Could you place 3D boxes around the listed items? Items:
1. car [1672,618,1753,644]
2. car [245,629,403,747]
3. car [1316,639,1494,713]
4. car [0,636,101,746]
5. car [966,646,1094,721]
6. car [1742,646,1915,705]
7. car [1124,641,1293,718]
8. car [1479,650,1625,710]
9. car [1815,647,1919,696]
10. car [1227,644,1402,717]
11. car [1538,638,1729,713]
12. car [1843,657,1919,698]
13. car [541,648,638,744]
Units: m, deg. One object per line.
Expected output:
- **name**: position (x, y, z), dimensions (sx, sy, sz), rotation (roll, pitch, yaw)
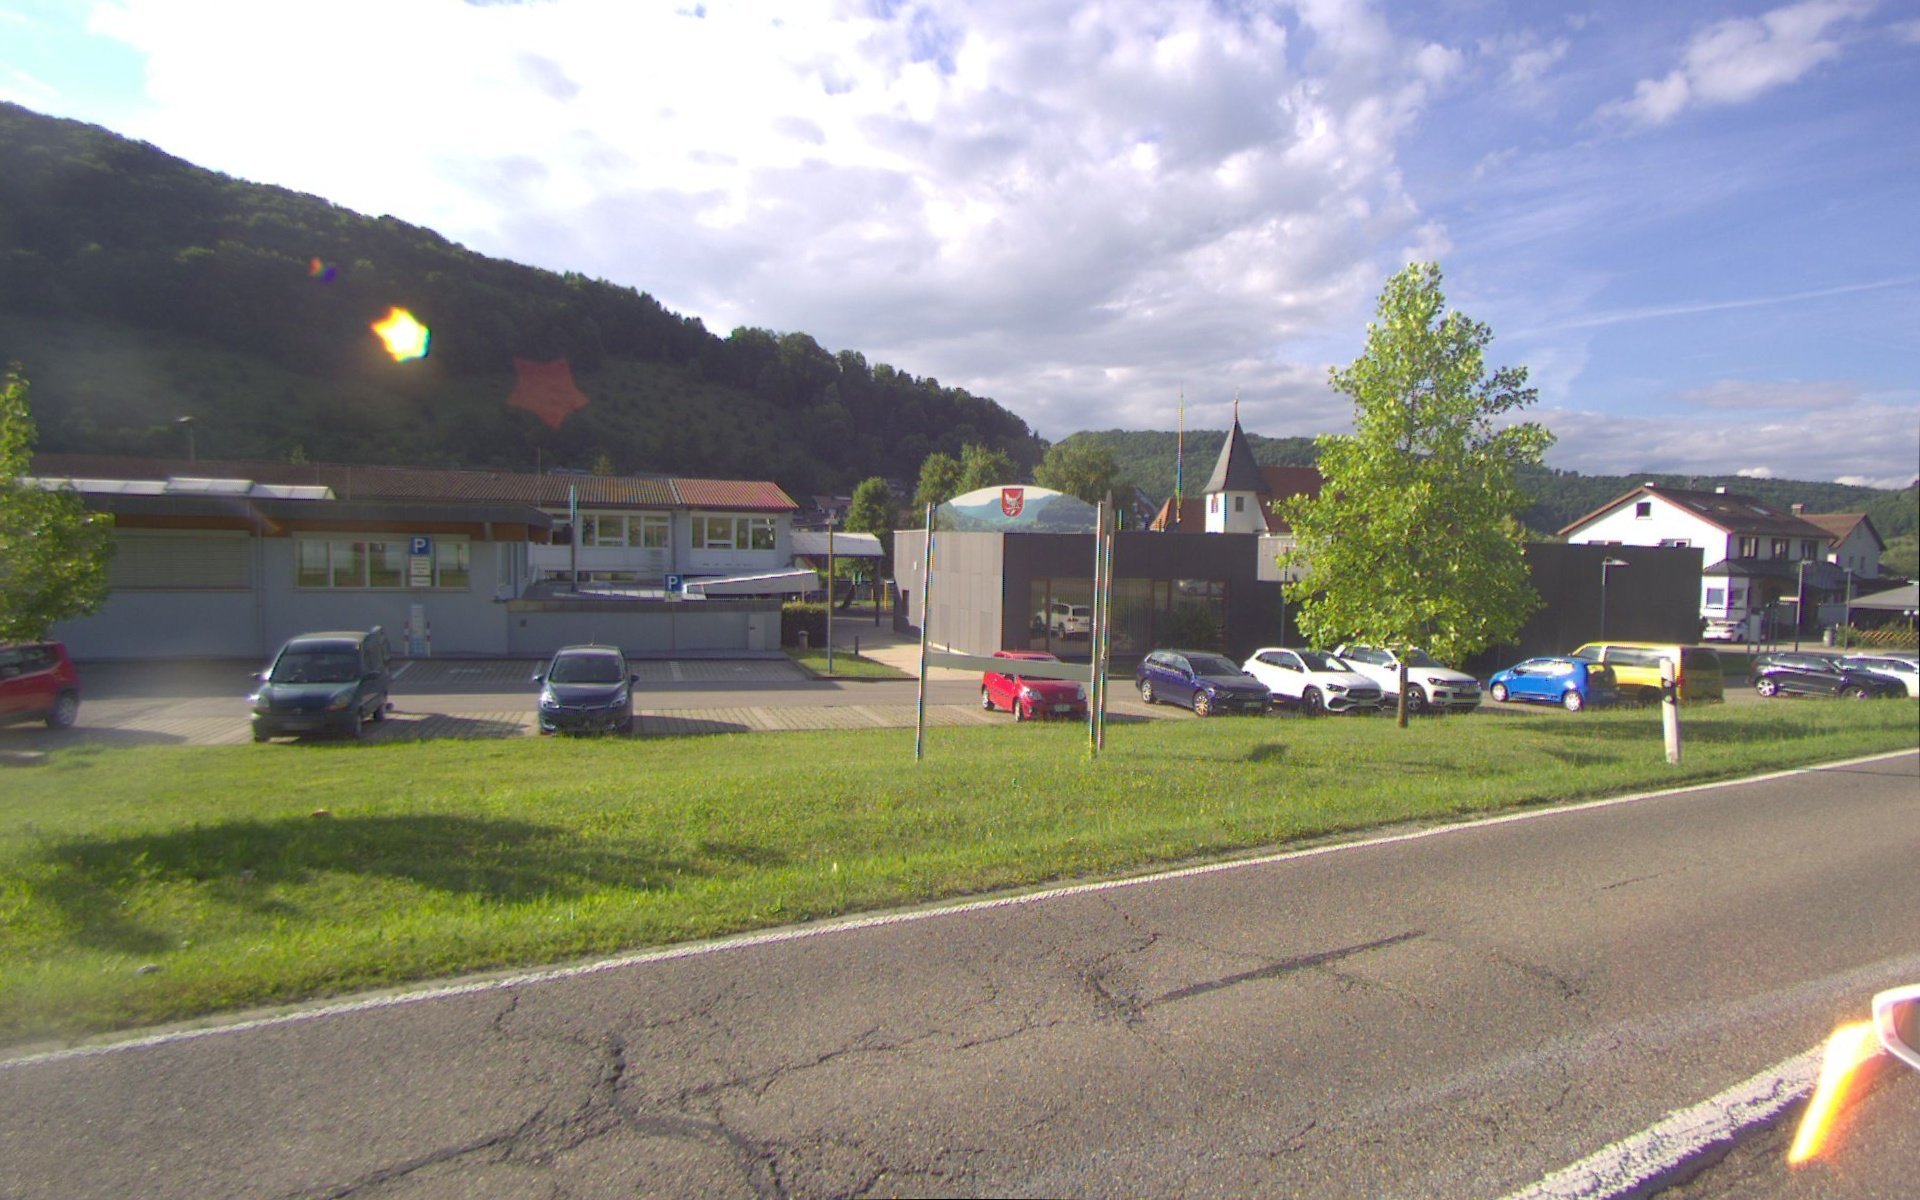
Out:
- **car**: position (46.706, 1.926, 62.370), dimensions (3.927, 1.461, 1.767), rotation (2, 0, -8)
- **car**: position (-12.153, 1.565, 19.508), dimensions (1.660, 1.817, 4.981), rotation (2, 0, -22)
- **car**: position (12.370, 2.067, 28.260), dimensions (1.970, 1.725, 4.532), rotation (2, 0, -20)
- **car**: position (-17.040, 1.552, 17.222), dimensions (1.818, 1.691, 4.320), rotation (2, 0, -16)
- **car**: position (1.557, 1.898, 23.585), dimensions (1.591, 1.416, 3.715), rotation (2, 0, -20)
- **car**: position (29.474, 2.523, 34.245), dimensions (1.970, 1.659, 4.019), rotation (2, 0, -20)
- **car**: position (6.222, 1.958, 25.728), dimensions (1.970, 1.575, 4.532), rotation (2, 0, -20)
- **car**: position (17.691, 2.355, 30.170), dimensions (1.609, 1.492, 3.486), rotation (2, 0, -22)
- **car**: position (33.708, 2.573, 35.683), dimensions (1.853, 1.513, 4.806), rotation (2, 0, -20)
- **car**: position (9.323, 2.077, 26.863), dimensions (1.970, 1.575, 4.532), rotation (2, 0, -20)
- **car**: position (20.310, 2.222, 30.543), dimensions (1.968, 1.893, 4.608), rotation (2, 0, -17)
- **car**: position (35.682, 2.919, 37.305), dimensions (1.737, 1.327, 3.976), rotation (2, 0, -24)
- **car**: position (-7.524, 1.835, 20.287), dimensions (1.660, 1.471, 3.999), rotation (-1, 1, -22)
